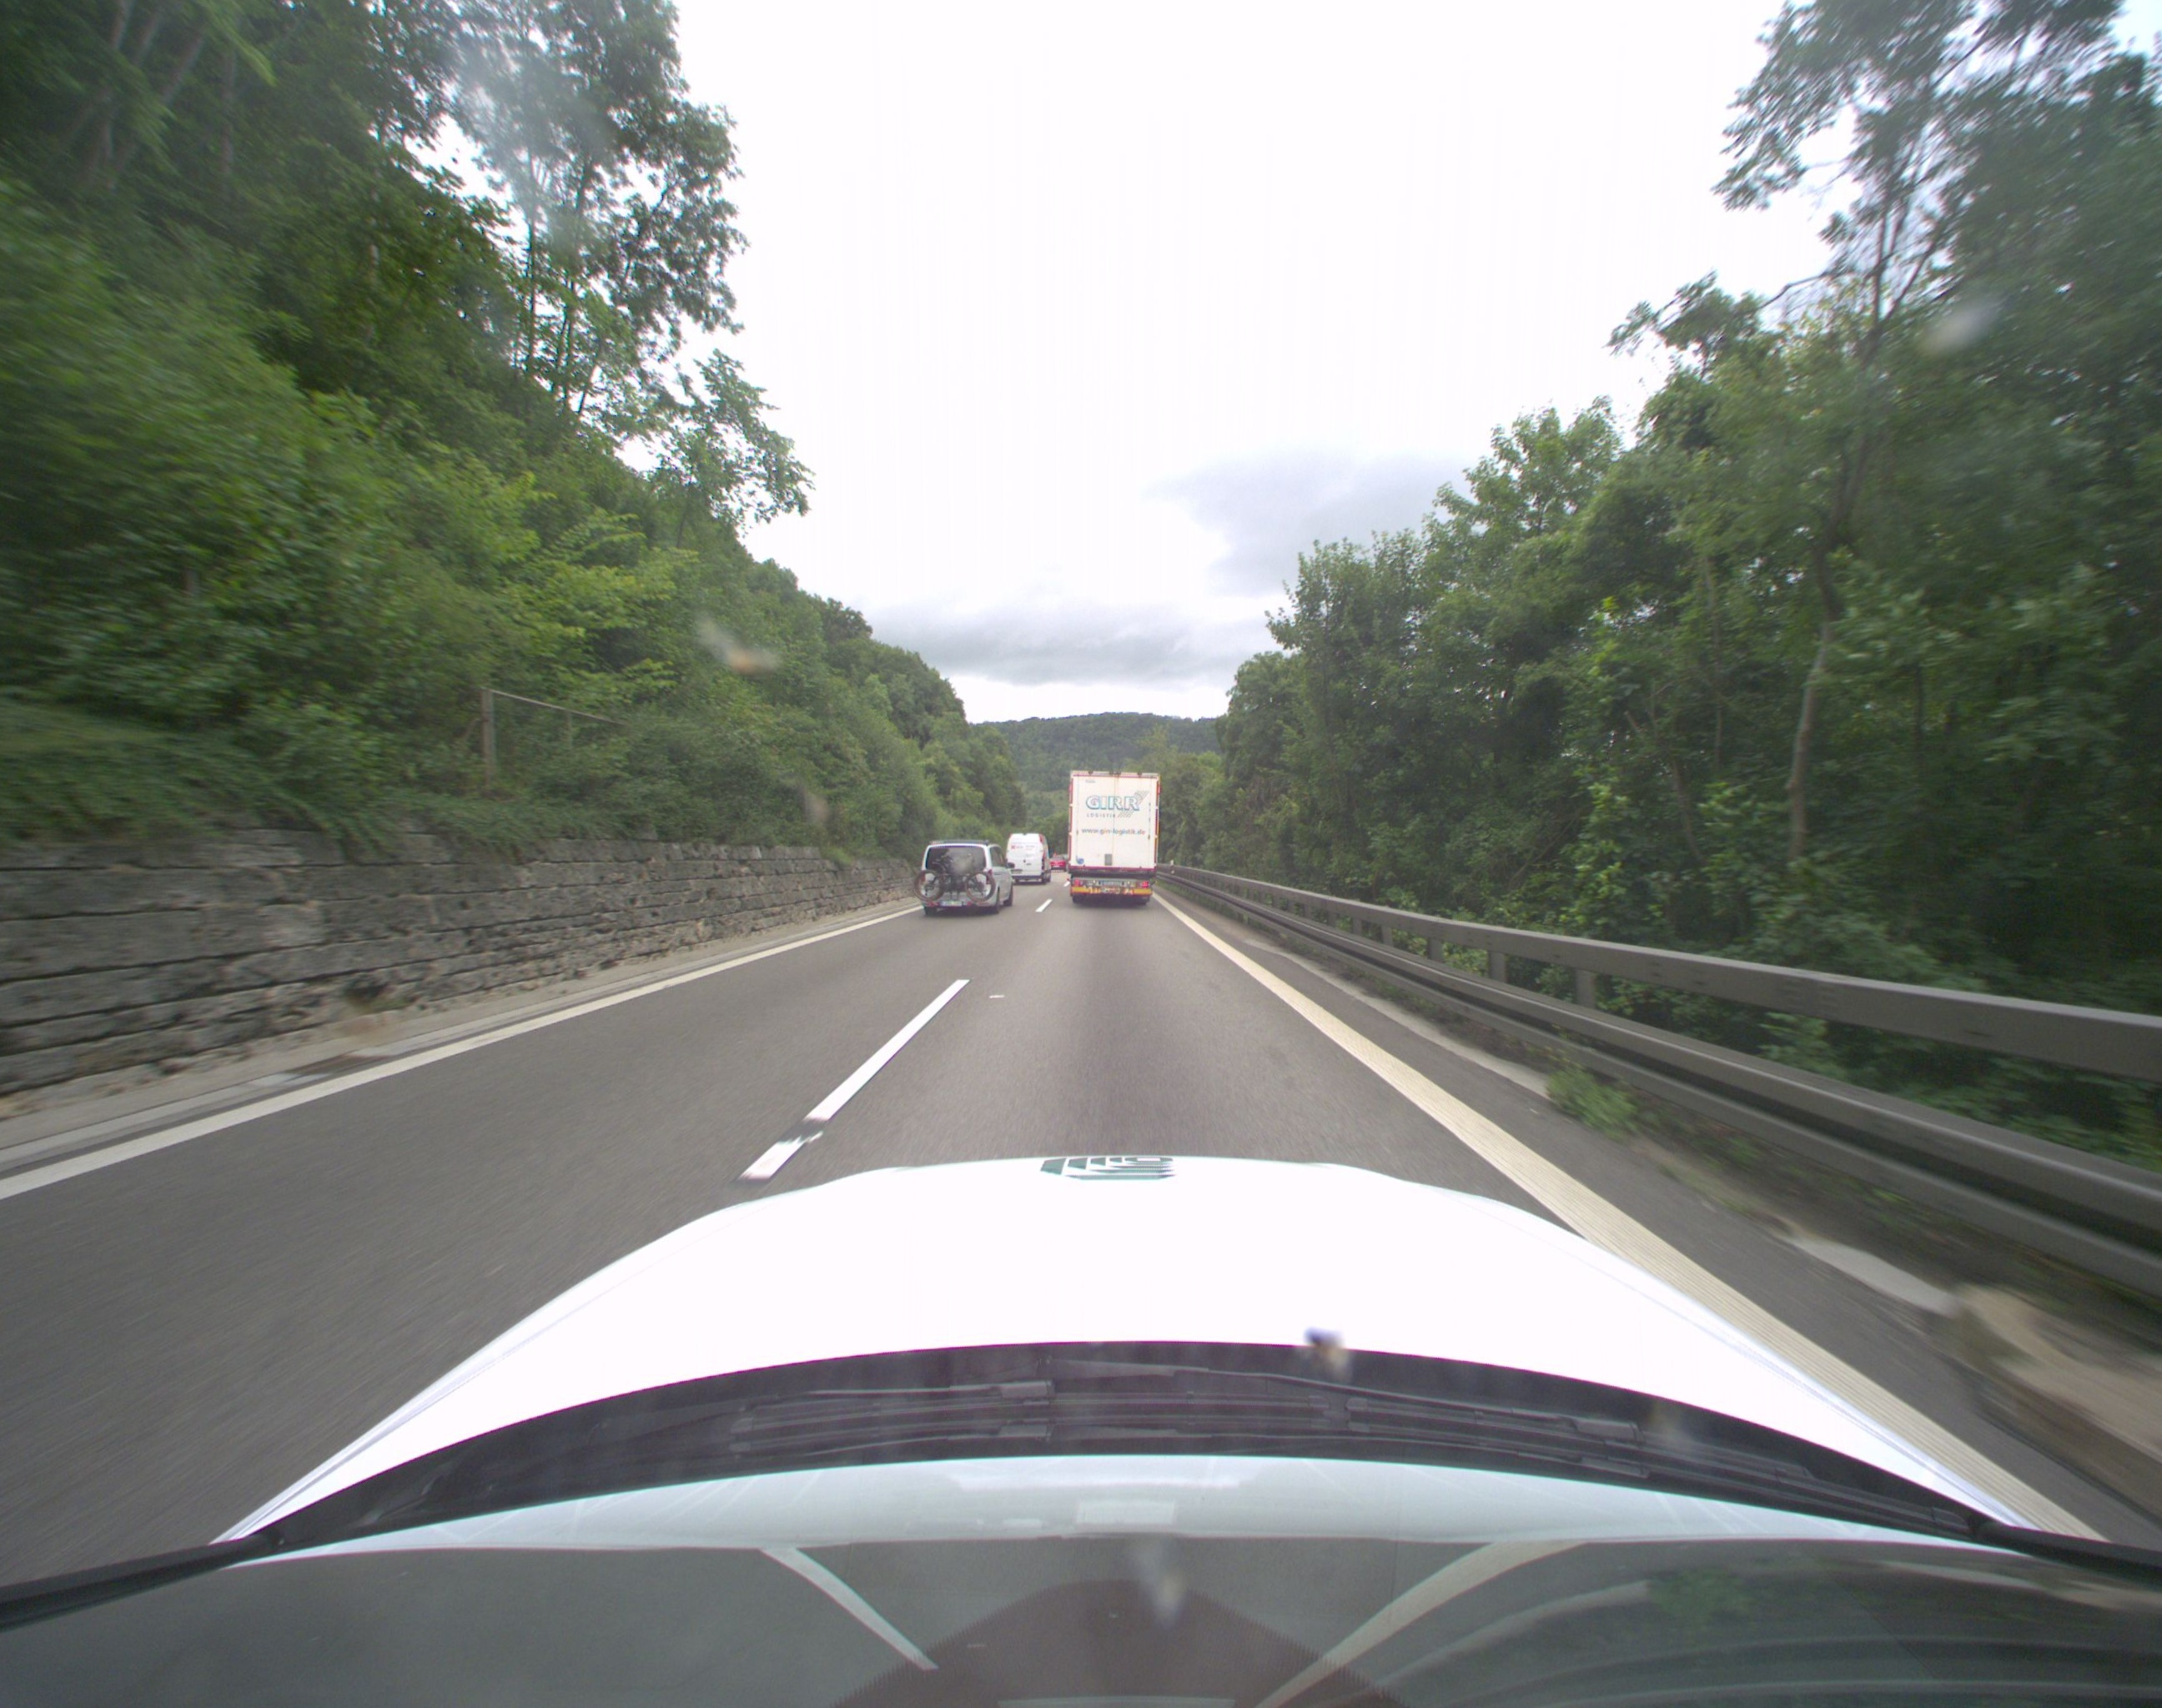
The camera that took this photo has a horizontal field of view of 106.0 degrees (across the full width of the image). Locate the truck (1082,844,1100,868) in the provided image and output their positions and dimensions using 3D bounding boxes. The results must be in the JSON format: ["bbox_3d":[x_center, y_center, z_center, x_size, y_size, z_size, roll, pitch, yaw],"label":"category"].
[{"bbox_3d":[1.725,0.408,139.047,3.058,3.877,8.459,0,-1,1],"label":"truck"}]

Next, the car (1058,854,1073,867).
[{"bbox_3d":[-2.137,0.837,113.692,1.830,1.689,4.418,-2,0,0],"label":"car"}]

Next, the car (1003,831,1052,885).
[{"bbox_3d":[-2.705,0.185,42.576,2.117,2.598,5.563,-1,0,0],"label":"car"}]

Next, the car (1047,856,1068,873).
[{"bbox_3d":[-2.094,0.932,73.924,1.677,1.452,3.766,-1,0,1],"label":"car"}]

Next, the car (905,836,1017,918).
[{"bbox_3d":[-3.032,0.529,21.895,2.010,1.914,5.565,0,0,2],"label":"car"}]

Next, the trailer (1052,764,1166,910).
[{"bbox_3d":[0.944,-0.483,27.600,3.121,4.043,9.443,1,0,2],"label":"trailer"}]

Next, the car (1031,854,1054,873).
[{"bbox_3d":[-3.198,0.806,68.365,1.677,1.514,3.766,0,-1,2],"label":"car"}]
